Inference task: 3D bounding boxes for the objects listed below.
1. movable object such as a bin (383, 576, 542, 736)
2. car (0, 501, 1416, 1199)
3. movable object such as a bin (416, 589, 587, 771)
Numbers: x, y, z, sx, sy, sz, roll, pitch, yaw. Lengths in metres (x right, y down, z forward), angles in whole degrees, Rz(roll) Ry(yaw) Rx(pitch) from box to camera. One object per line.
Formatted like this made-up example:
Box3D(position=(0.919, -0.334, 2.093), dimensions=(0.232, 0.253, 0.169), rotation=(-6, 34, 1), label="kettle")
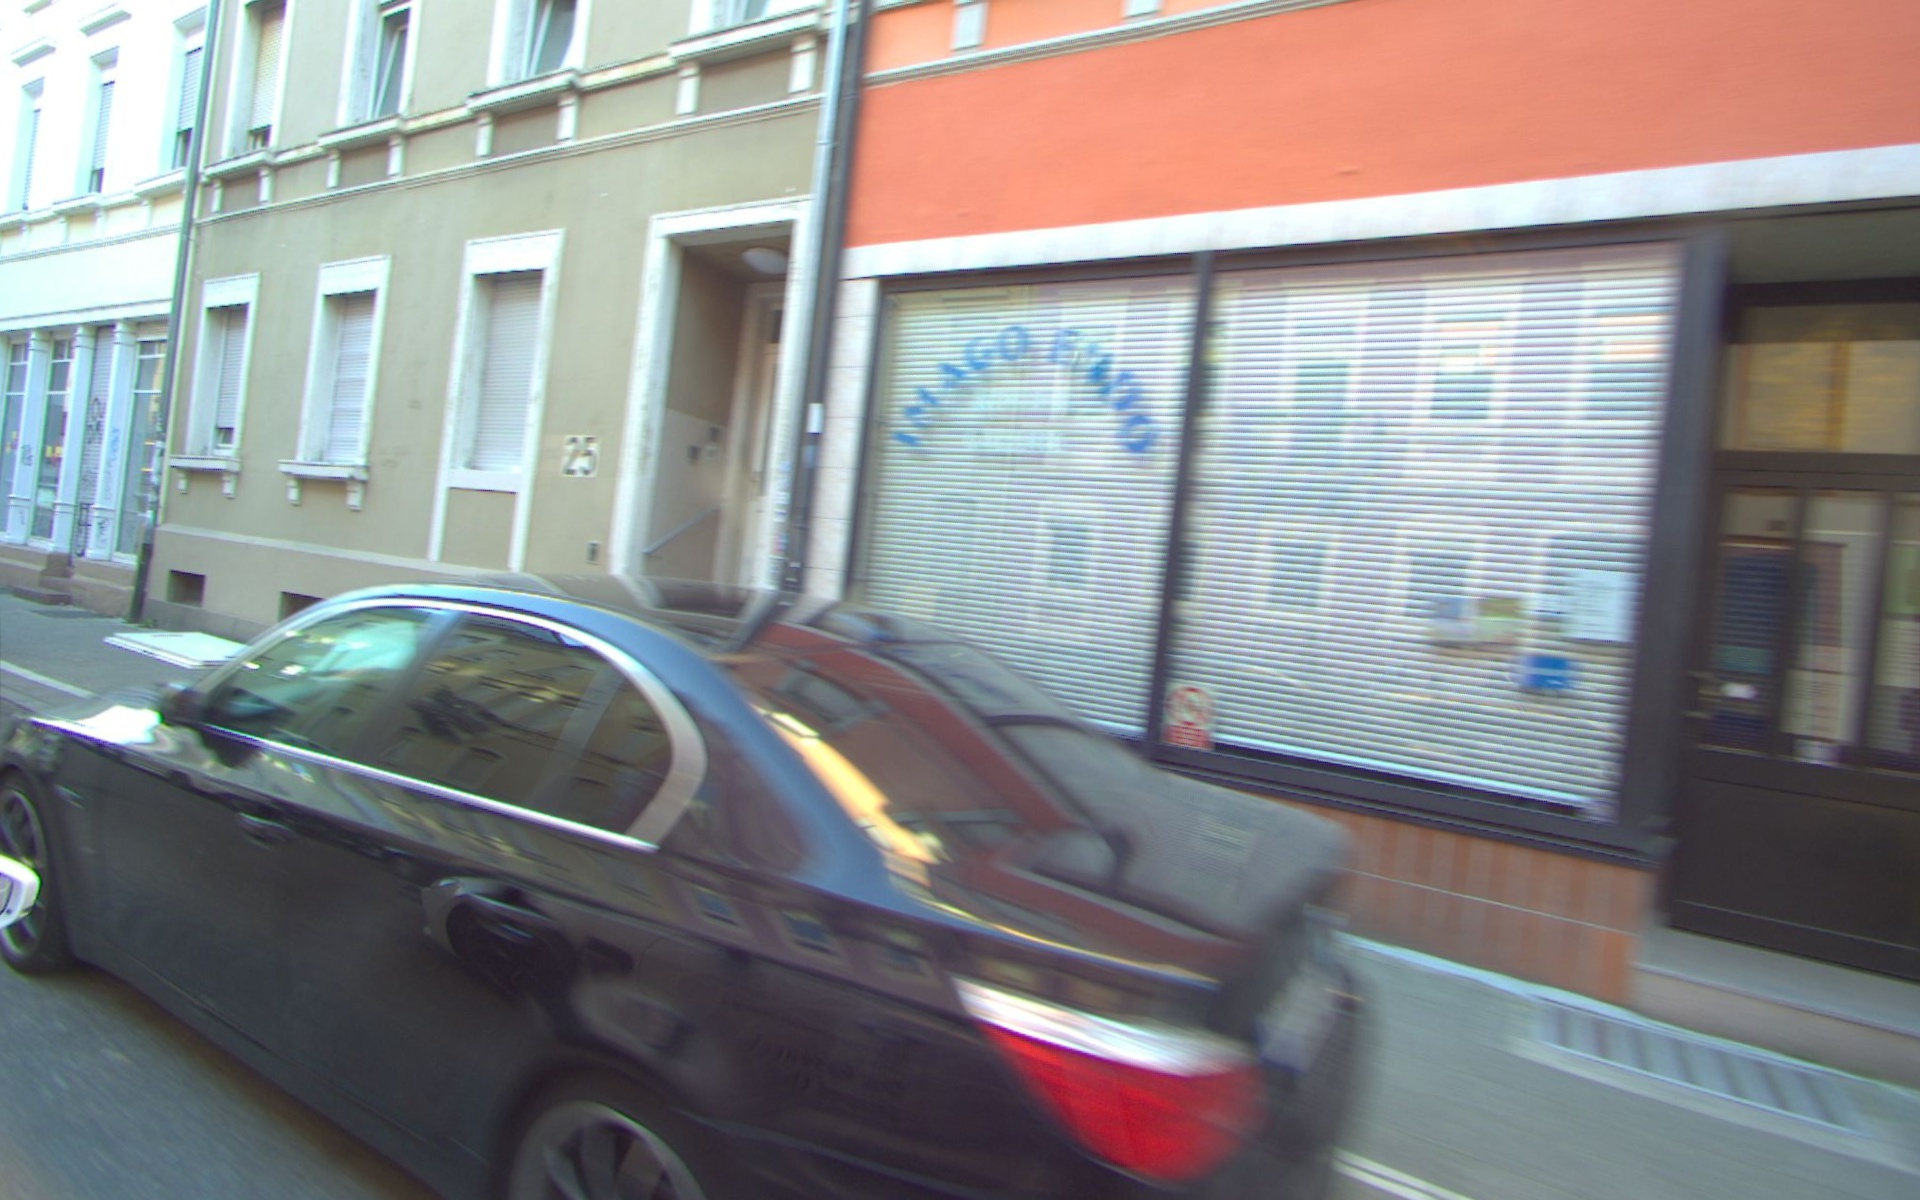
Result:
Box3D(position=(-3.760, 0.407, 7.619), dimensions=(0.667, 1.090, 0.806), rotation=(7, 3, 35), label="movable object such as a bin")
Box3D(position=(-1.294, 0.604, 3.180), dimensions=(4.710, 1.457, 1.818), rotation=(6, 1, 31), label="car")
Box3D(position=(-3.078, 0.508, 6.789), dimensions=(0.665, 1.090, 0.737), rotation=(6, 2, 24), label="movable object such as a bin")
